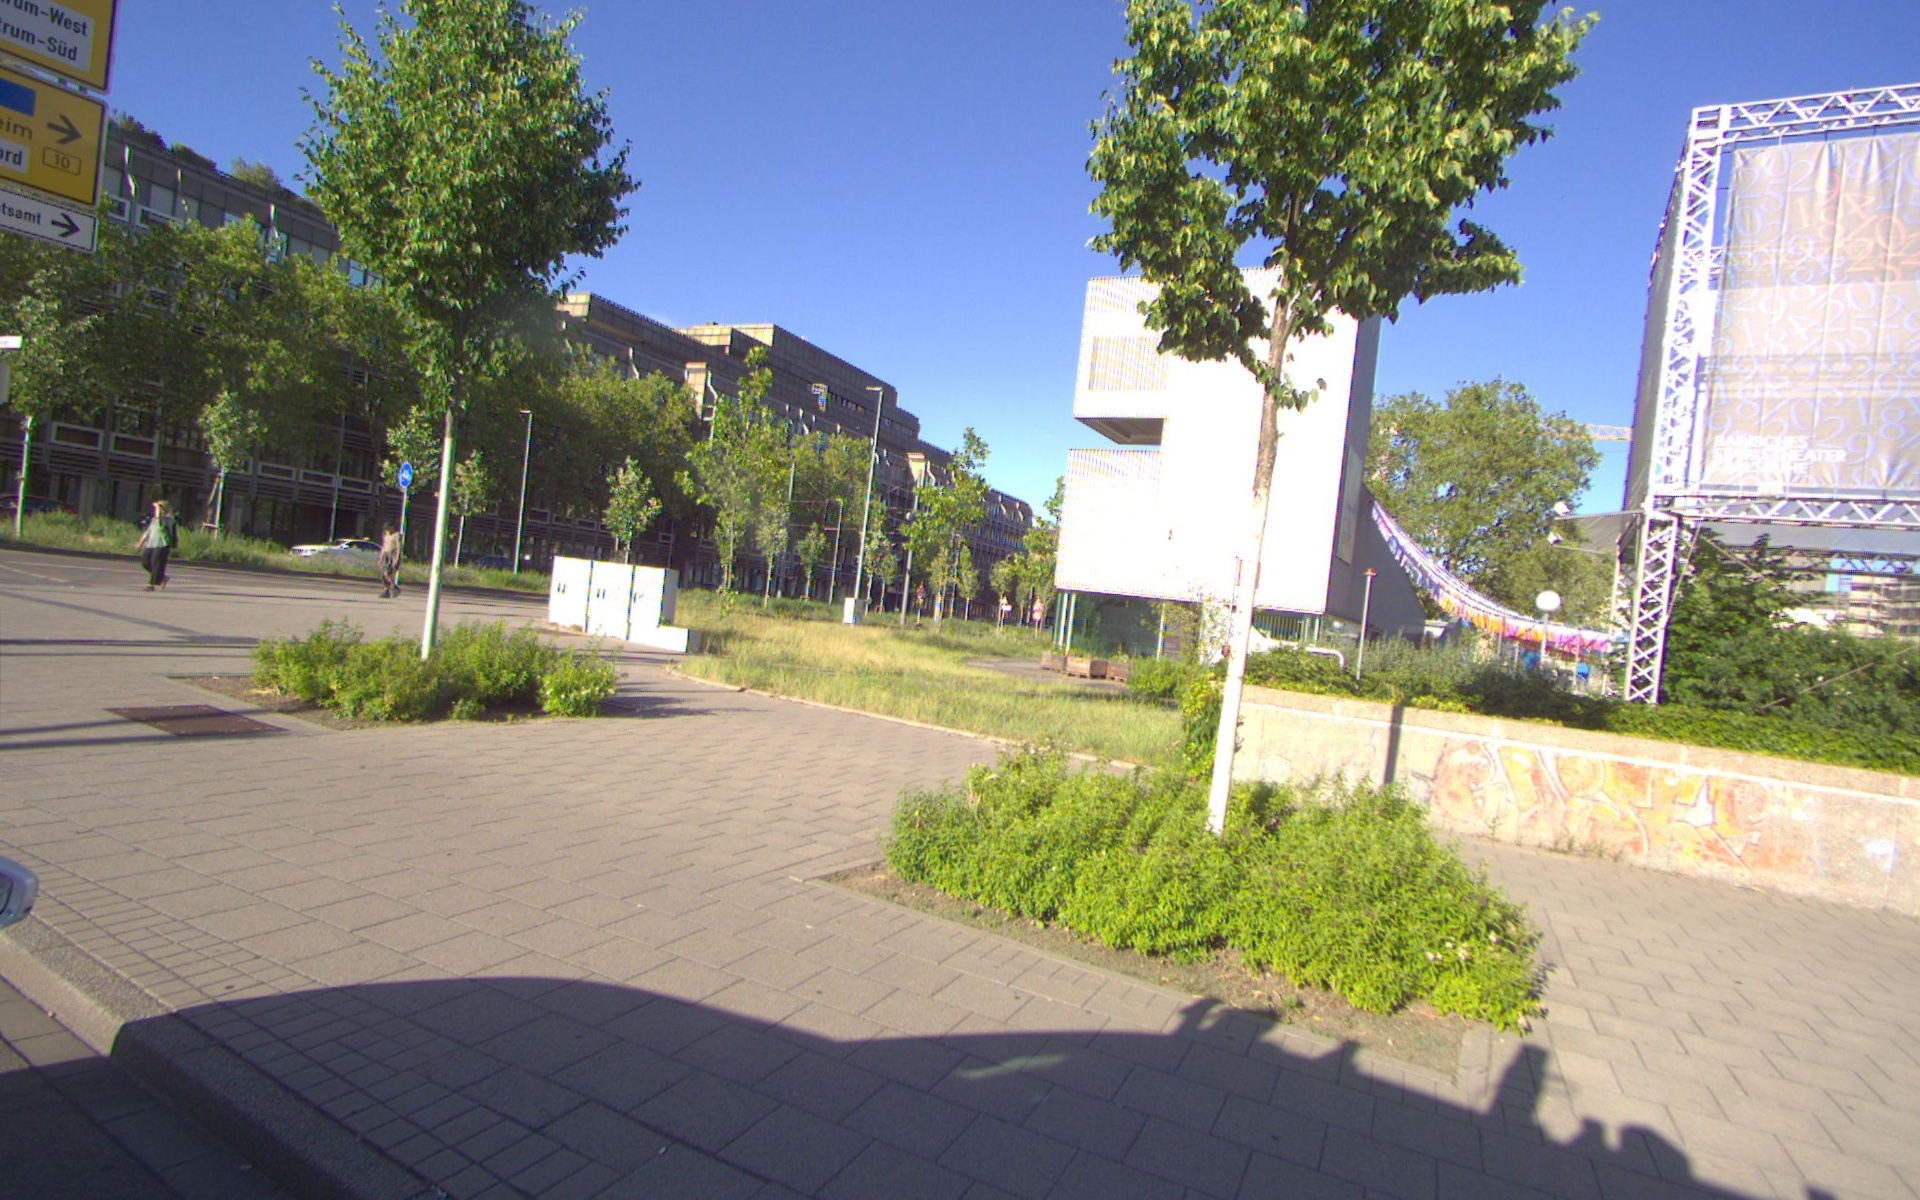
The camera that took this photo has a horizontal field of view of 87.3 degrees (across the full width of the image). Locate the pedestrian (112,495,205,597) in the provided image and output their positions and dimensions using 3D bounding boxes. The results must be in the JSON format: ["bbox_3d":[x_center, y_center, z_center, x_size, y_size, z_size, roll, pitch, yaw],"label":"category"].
[{"bbox_3d":[-14.195,-0.944,17.830,0.925,1.650,0.803,7,1,18],"label":"pedestrian"}]

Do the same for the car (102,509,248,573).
[{"bbox_3d":[-34.119,-2.531,43.878,1.965,2.036,4.458,7,-2,27],"label":"car"}]

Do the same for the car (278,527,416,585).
[{"bbox_3d":[-30.683,-2.183,50.581,2.062,2.036,5.455,6,-2,29],"label":"car"}]

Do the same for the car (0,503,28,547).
[{"bbox_3d":[-37.251,-3.045,36.941,1.836,1.525,3.997,7,-2,29],"label":"car"}]

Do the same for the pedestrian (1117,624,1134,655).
[{"bbox_3d":[9.992,2.387,60.666,0.772,1.750,0.625,7,1,3],"label":"pedestrian"}]

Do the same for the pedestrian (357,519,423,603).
[{"bbox_3d":[-12.809,-0.870,22.624,0.925,1.750,0.695,7,1,18],"label":"pedestrian"}]

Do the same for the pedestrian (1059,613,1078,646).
[{"bbox_3d":[6.143,1.672,56.972,0.641,1.750,0.694,7,1,29],"label":"pedestrian"}]

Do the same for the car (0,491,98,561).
[{"bbox_3d":[-33.321,-2.713,35.371,1.966,2.037,3.997,6,-2,29],"label":"car"}]
